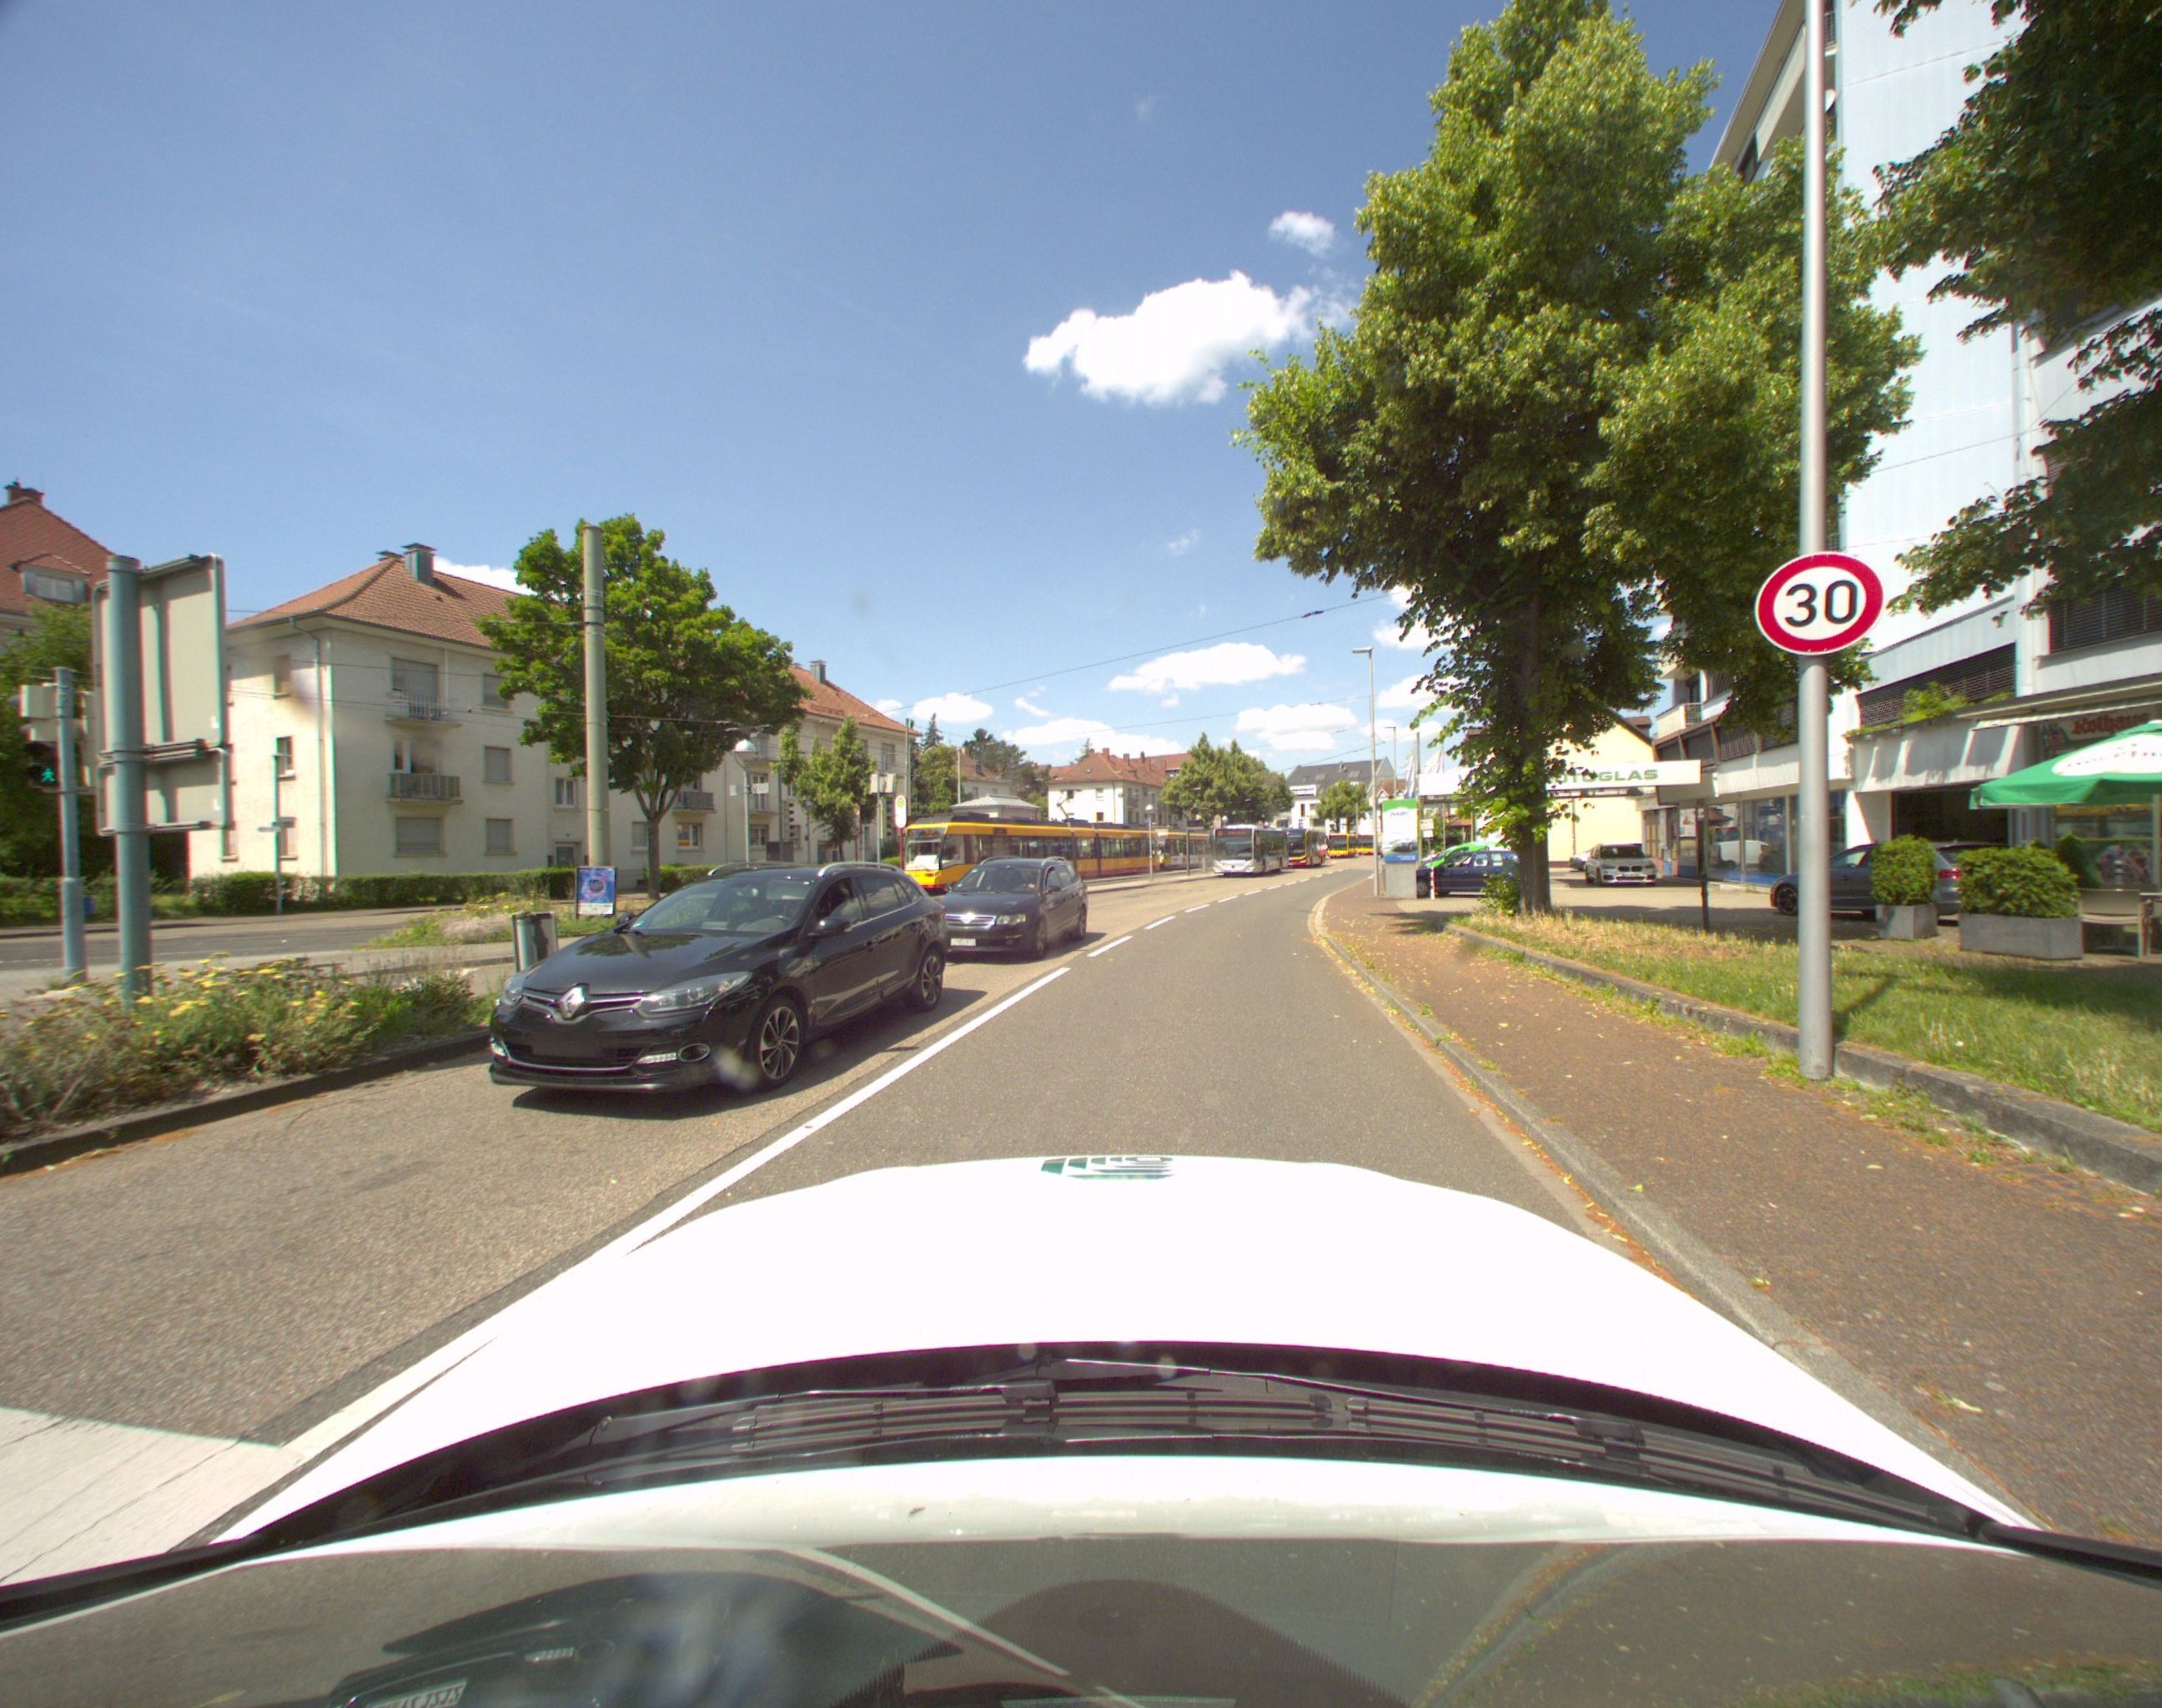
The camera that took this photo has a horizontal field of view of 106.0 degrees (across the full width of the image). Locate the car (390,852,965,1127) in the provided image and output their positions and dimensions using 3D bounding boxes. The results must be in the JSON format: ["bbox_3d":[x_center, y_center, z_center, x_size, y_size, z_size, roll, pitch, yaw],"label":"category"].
[{"bbox_3d":[-2.669,0.742,6.802,1.981,1.500,4.439,-1,0,11],"label":"car"}]

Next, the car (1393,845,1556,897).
[{"bbox_3d":[12.074,0.515,25.175,1.913,1.439,4.120,-1,-1,-44],"label":"car"}]

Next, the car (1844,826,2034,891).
[{"bbox_3d":[22.979,0.104,22.079,1.976,1.585,4.406,-1,0,24],"label":"car"}]

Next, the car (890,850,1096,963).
[{"bbox_3d":[-1.200,0.712,13.452,1.980,1.519,4.528,-1,0,13],"label":"car"}]

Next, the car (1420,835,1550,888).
[{"bbox_3d":[14.793,0.285,30.014,1.845,1.794,3.991,-1,-1,-25],"label":"car"}]

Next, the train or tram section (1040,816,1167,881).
[{"bbox_3d":[1.937,-0.335,52.487,2.760,3.568,14.787,-1,0,24],"label":"train or tram section"}]

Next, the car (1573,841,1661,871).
[{"bbox_3d":[33.673,0.105,51.264,4.269,1.809,2.010,0,2,19],"label":"car"}]

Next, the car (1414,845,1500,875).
[{"bbox_3d":[20.282,0.339,44.042,3.904,1.518,1.828,-1,-1,11],"label":"car"}]

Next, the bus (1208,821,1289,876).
[{"bbox_3d":[11.059,-0.363,52.468,2.706,3.129,12.074,-1,0,23],"label":"bus"}]

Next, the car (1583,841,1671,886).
[{"bbox_3d":[21.039,0.344,31.563,1.990,1.596,4.312,-1,0,22],"label":"car"}]

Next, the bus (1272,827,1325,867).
[{"bbox_3d":[18.921,-0.612,70.307,2.706,3.129,12.074,-1,0,23],"label":"bus"}]

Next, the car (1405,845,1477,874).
[{"bbox_3d":[23.759,0.339,53.911,4.267,1.809,2.011,0,2,21],"label":"car"}]

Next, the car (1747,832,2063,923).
[{"bbox_3d":[14.944,0.405,15.196,1.694,1.428,4.368,-1,-1,4],"label":"car"}]

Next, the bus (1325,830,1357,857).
[{"bbox_3d":[33.101,-1.264,103.426,2.706,3.218,11.110,-1,0,23],"label":"bus"}]

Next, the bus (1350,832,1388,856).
[{"bbox_3d":[41.736,-1.413,117.839,2.608,3.218,10.004,-1,0,35],"label":"bus"}]

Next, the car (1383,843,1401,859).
[{"bbox_3d":[38.799,-0.343,101.530,1.791,1.981,4.023,-1,0,26],"label":"car"}]

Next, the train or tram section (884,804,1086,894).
[{"bbox_3d":[-3.890,-0.223,39.204,2.784,3.568,14.260,-1,0,24],"label":"train or tram section"}]

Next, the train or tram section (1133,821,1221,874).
[{"bbox_3d":[8.303,-0.539,67.311,2.760,3.895,15.638,-1,0,24],"label":"train or tram section"}]
